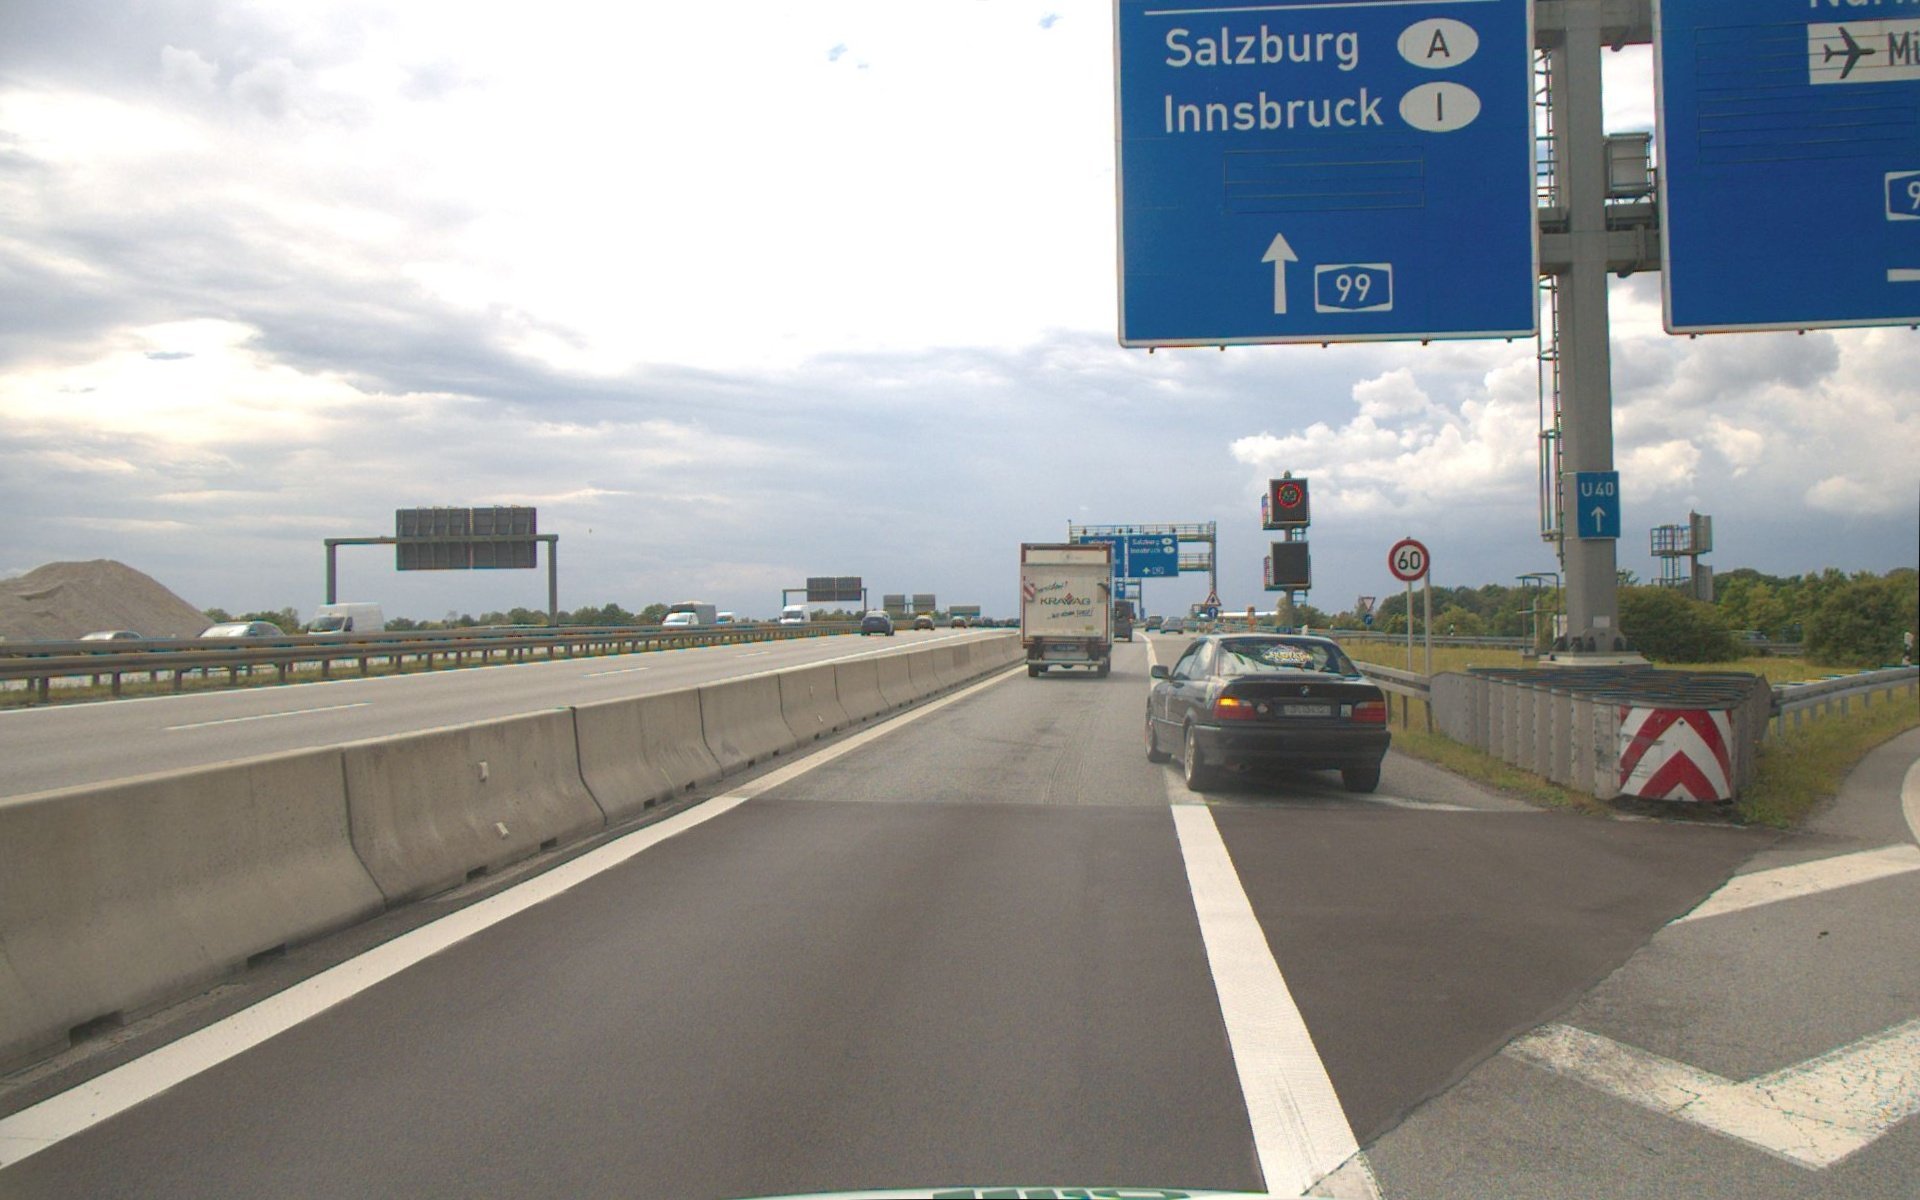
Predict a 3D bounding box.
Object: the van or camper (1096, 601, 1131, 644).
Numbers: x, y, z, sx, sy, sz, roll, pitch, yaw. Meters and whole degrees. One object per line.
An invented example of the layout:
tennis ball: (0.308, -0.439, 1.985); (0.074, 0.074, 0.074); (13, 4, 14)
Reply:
van or camper: (8.831, 1.286, 95.438); (1.957, 2.412, 6.129); (0, -1, 5)

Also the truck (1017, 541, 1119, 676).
truck: (2.797, 0.214, 41.817); (2.353, 3.144, 6.373); (0, -1, 5)

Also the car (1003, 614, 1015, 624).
car: (7.593, 2.886, 255.160); (1.736, 1.557, 4.002); (0, -1, 4)

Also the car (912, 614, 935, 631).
car: (-3.481, 2.153, 158.004); (1.952, 1.568, 4.001); (0, -1, 3)

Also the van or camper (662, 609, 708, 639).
van or camper: (-18.018, 1.563, 108.441); (1.951, 1.861, 4.350); (0, -1, 4)

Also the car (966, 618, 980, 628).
car: (1.913, 3.292, 240.522); (1.952, 1.422, 4.001); (0, -1, 3)

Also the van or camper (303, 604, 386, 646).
van or camper: (-33.404, 1.341, 89.931); (2.141, 2.210, 5.811); (0, -1, 2)

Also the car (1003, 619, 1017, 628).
car: (7.694, 3.636, 253.818); (1.952, 1.422, 4.001); (0, -1, 3)

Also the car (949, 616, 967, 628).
car: (-0.196, 2.634, 198.178); (1.952, 1.422, 4.001); (0, -1, 3)

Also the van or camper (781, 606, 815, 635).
van or camper: (-15.162, 1.901, 155.344); (2.141, 2.665, 6.907); (0, -1, 3)

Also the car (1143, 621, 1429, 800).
car: (2.864, 0.920, 15.410); (1.746, 1.402, 4.135); (1, -1, -2)

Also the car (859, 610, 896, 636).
car: (-5.490, 1.546, 110.739); (1.952, 1.691, 4.386); (0, -1, 4)
